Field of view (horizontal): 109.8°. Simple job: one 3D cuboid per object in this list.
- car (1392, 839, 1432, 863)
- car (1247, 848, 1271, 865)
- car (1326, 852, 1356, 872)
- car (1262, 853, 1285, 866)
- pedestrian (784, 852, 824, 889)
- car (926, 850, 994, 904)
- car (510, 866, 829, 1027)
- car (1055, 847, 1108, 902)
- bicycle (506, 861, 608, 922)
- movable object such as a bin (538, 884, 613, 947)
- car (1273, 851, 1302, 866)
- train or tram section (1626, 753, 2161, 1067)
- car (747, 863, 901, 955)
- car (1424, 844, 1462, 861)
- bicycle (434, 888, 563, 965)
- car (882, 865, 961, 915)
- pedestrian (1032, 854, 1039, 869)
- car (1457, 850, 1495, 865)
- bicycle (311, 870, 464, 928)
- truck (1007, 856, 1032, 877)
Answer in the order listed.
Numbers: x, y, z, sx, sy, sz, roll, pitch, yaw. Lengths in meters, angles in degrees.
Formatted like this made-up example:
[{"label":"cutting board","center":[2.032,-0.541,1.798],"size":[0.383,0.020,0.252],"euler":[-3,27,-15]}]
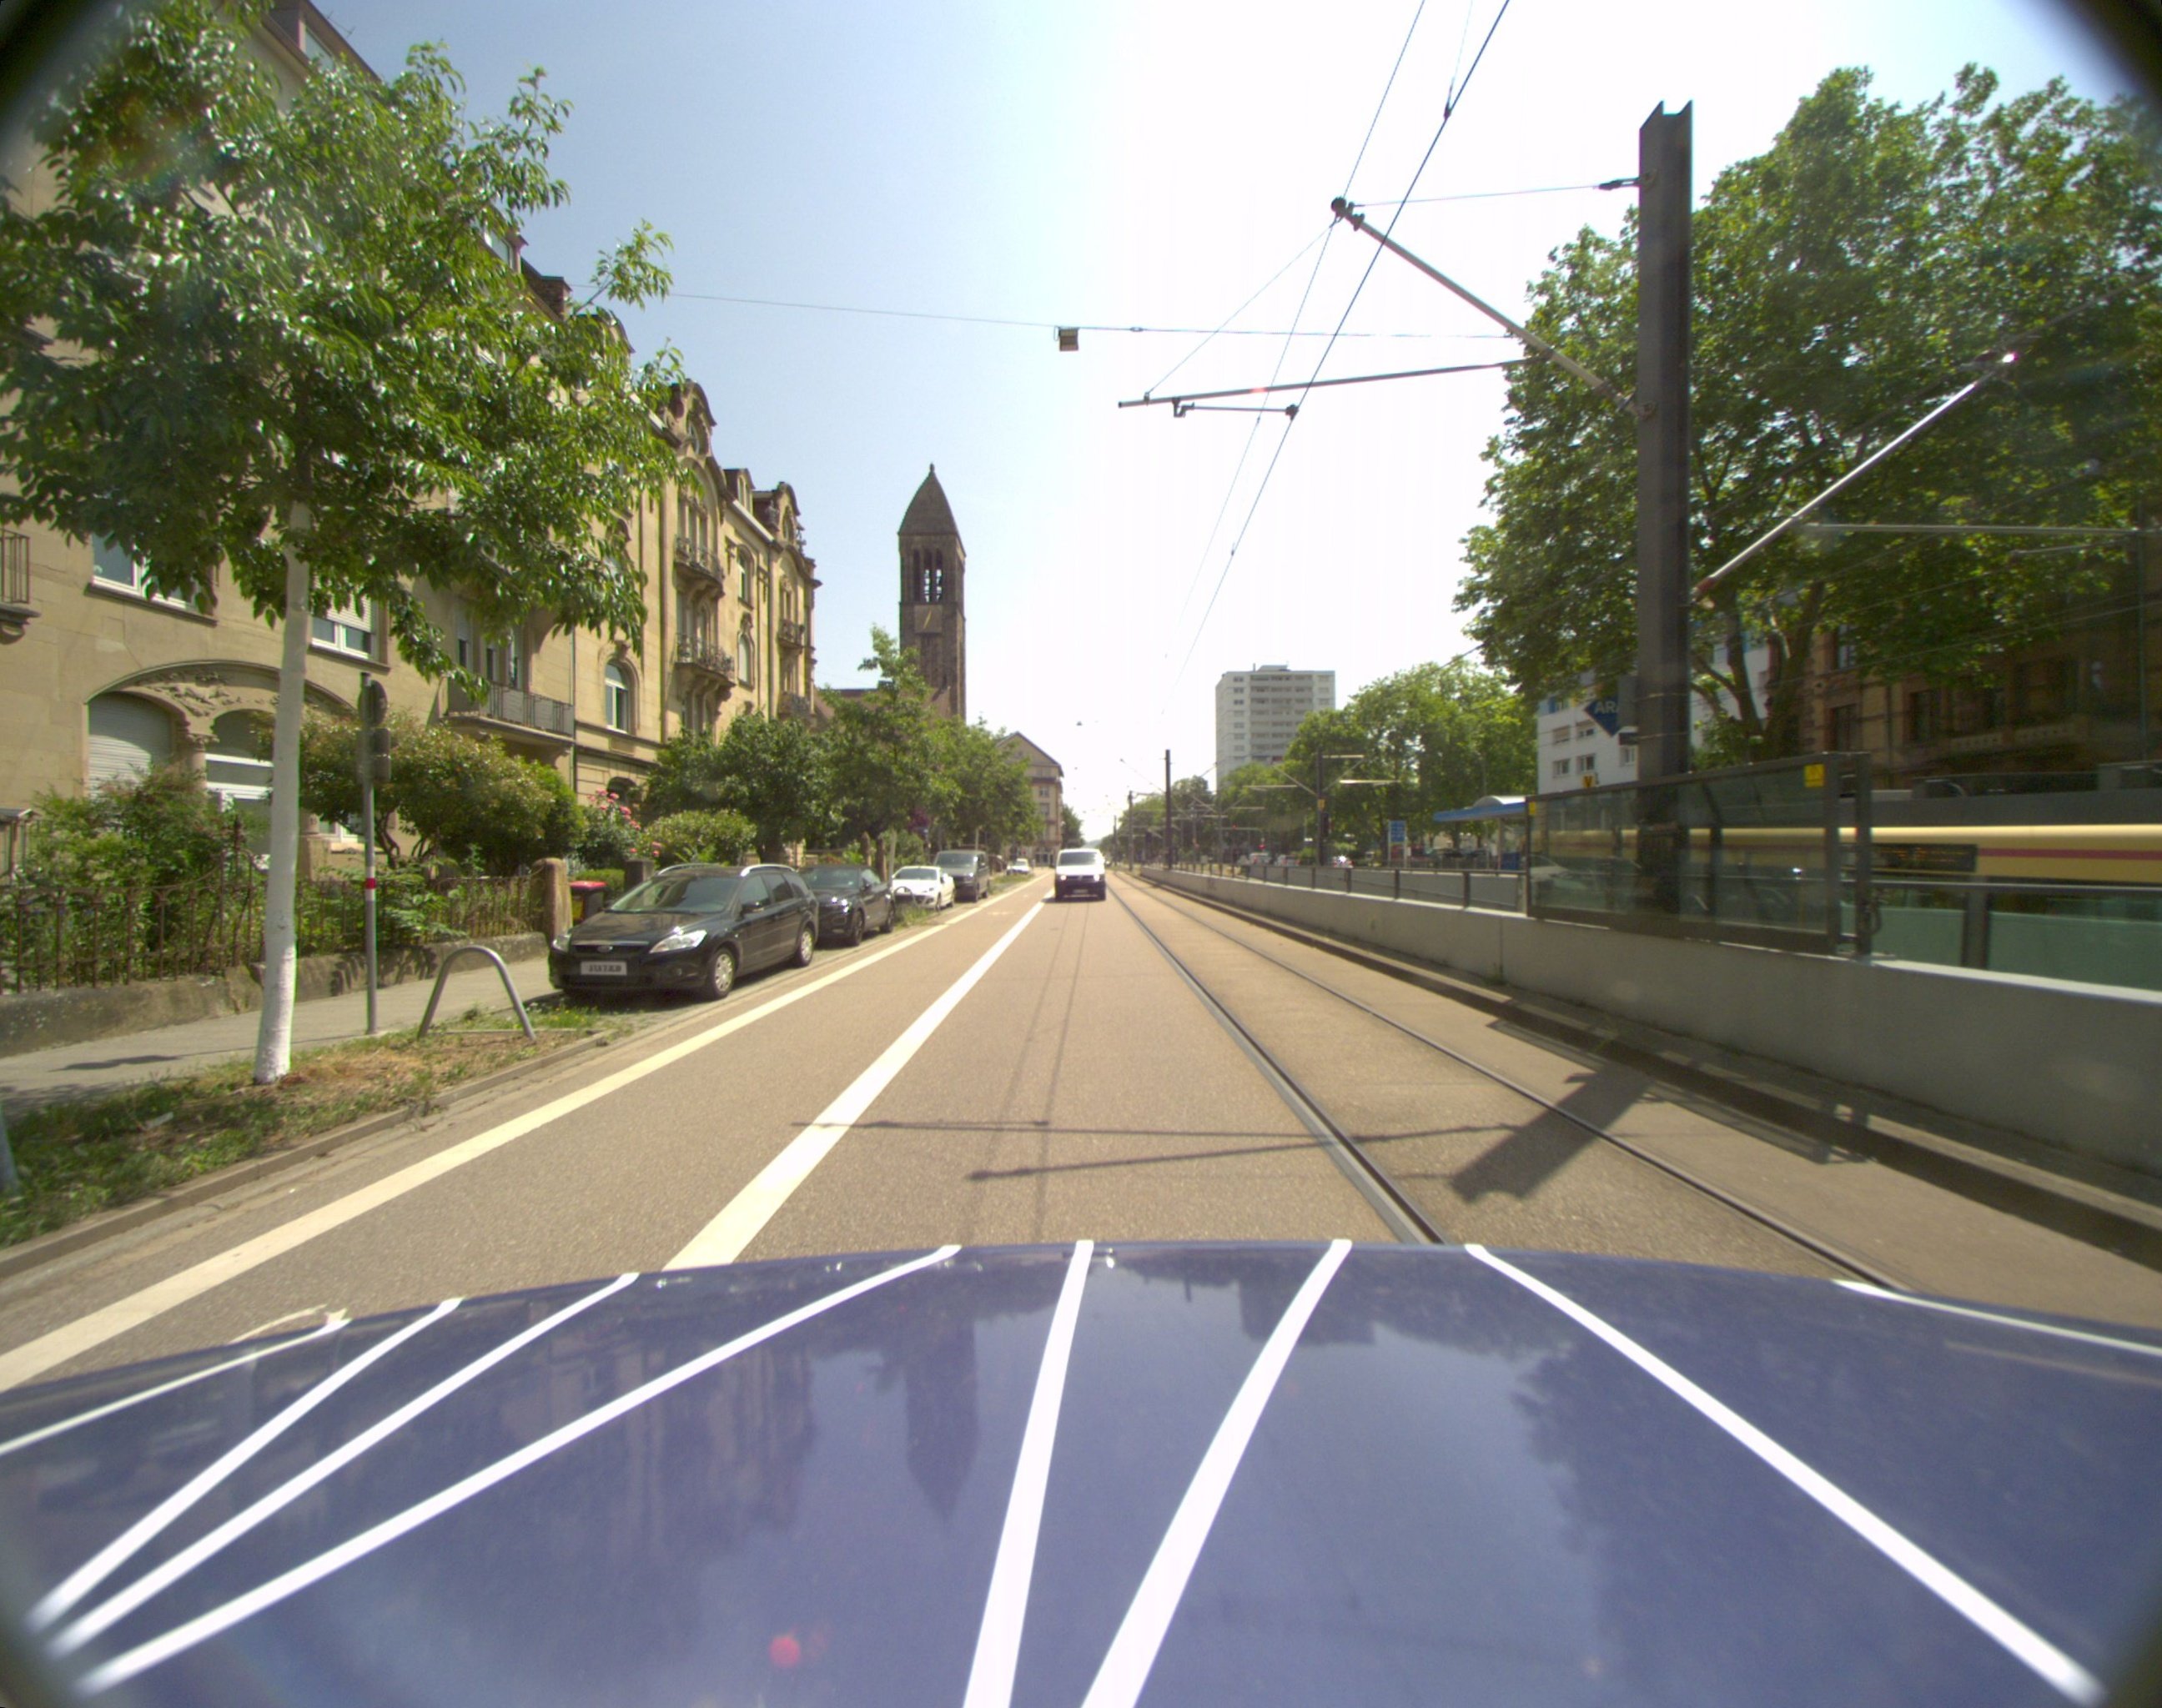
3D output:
[{"label":"car","center":[34.310,-0.345,78.936],"size":[1.851,2.379,4.981],"euler":[-1,0,-1]},{"label":"car","center":[22.169,0.315,95.014],"size":[1.781,1.979,4.804],"euler":[-1,0,-1]},{"label":"car","center":[21.845,0.640,63.920],"size":[1.547,1.552,3.880],"euler":[-1,0,7]},{"label":"car","center":[22.128,0.580,87.392],"size":[1.600,1.412,3.781],"euler":[1,0,0]},{"label":"pedestrian","center":[-8.339,0.491,22.880],"size":[0.867,1.063,0.761],"euler":[-1,0,4]},{"label":"car","center":[-4.686,0.841,30.045],"size":[1.883,1.936,4.836],"euler":[0,0,0]},{"label":"car","center":[-4.891,0.969,9.899],"size":[1.734,1.527,4.404],"euler":[-1,0,0]},{"label":"car","center":[0.063,0.727,29.554],"size":[1.852,1.942,4.943],"euler":[-1,0,1]},{"label":"bicycle","center":[-12.307,0.835,17.986],"size":[0.566,1.324,2.690],"euler":[-1,0,-1]},{"label":"movable object such as a bin","center":[-9.394,1.128,14.158],"size":[0.804,1.063,0.830],"euler":[2,0,0]},{"label":"car","center":[21.960,0.468,80.881],"size":[1.851,1.616,4.602],"euler":[0,0,1]},{"label":"train or tram section","center":[9.958,0.415,7.738],"size":[2.736,2.494,8.516],"euler":[-1,0,1]},{"label":"car","center":[-4.944,0.982,15.232],"size":[1.671,1.521,4.013],"euler":[-1,0,0]},{"label":"car","center":[37.920,-0.133,79.664],"size":[1.998,1.710,4.000],"euler":[-1,0,0]},{"label":"bicycle","center":[-9.050,1.119,11.815],"size":[1.693,1.070,0.343],"euler":[3,1,0]},{"label":"car","center":[-4.997,1.091,24.250],"size":[1.615,1.397,4.000],"euler":[-1,0,0]},{"label":"pedestrian","center":[-5.416,0.889,90.459],"size":[0.795,1.641,0.967],"euler":[-1,1,2]},{"label":"car","center":[41.622,0.415,80.190],"size":[1.868,1.517,4.000],"euler":[-1,0,0]},{"label":"bicycle","center":[-13.953,0.864,15.445],"size":[0.584,0.980,2.759],"euler":[-1,0,-1]},{"label":"truck","center":[-4.880,0.971,60.894],"size":[1.794,1.517,4.464],"euler":[-1,0,-3]}]
